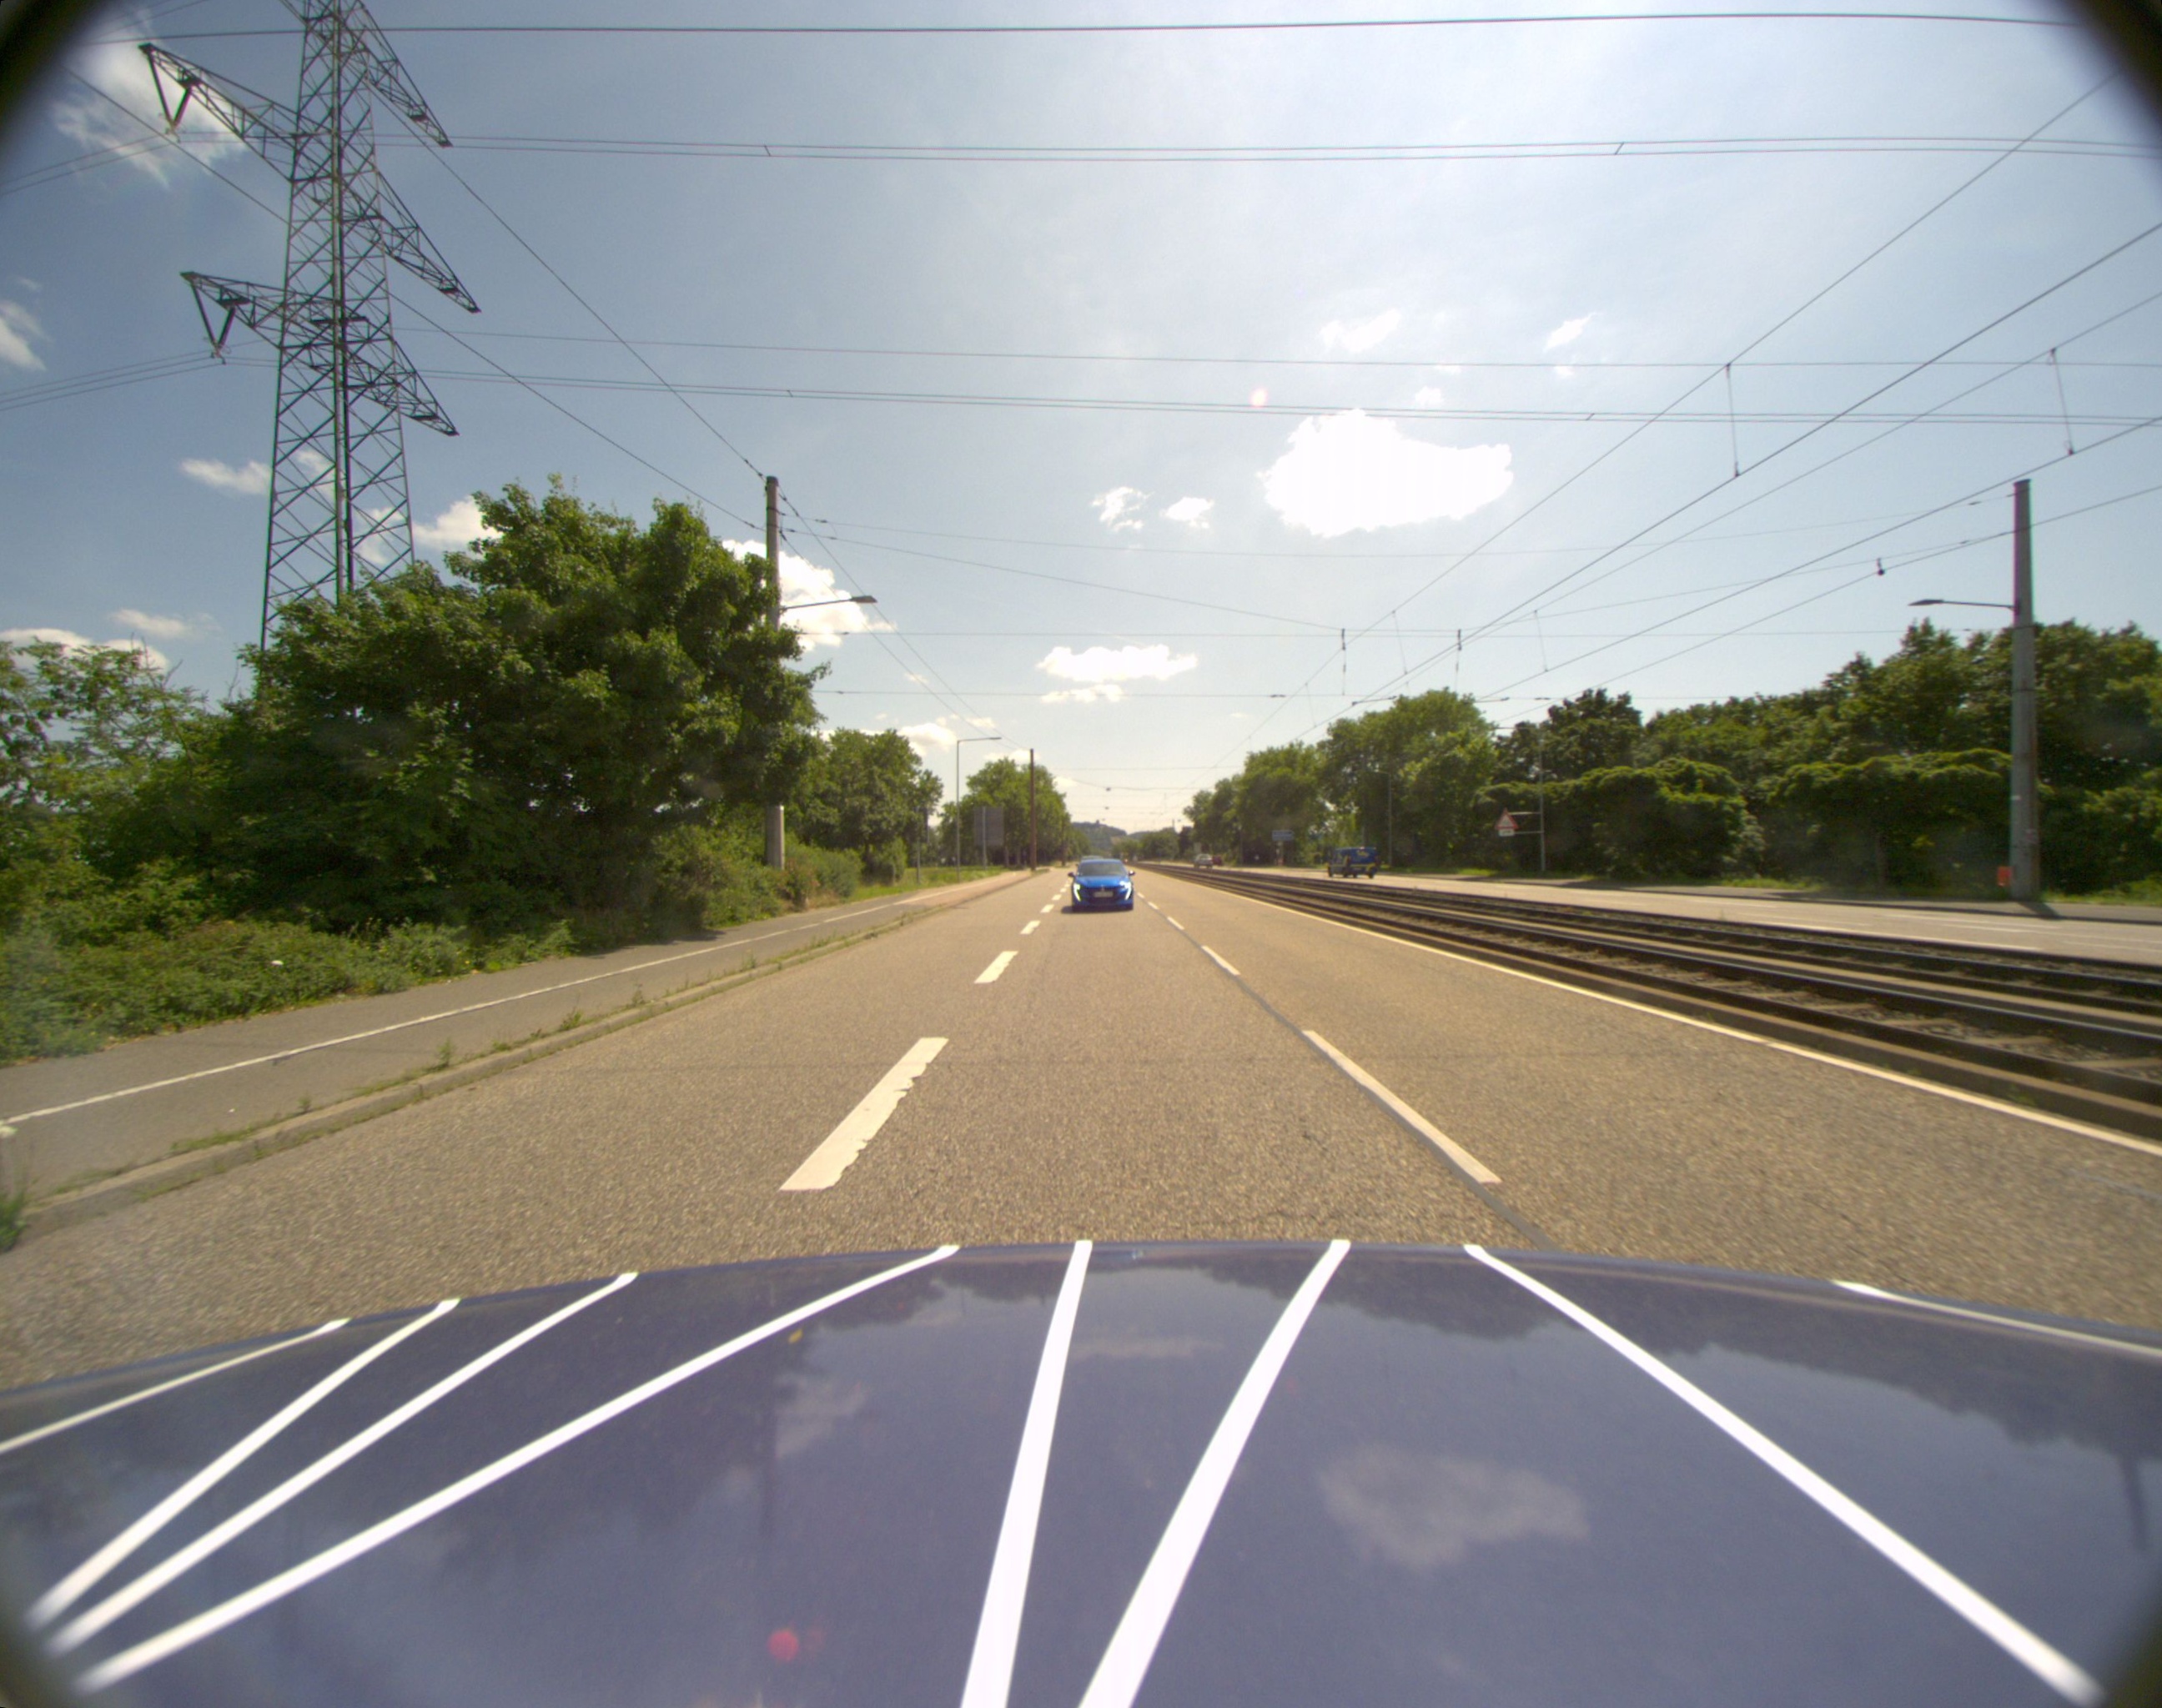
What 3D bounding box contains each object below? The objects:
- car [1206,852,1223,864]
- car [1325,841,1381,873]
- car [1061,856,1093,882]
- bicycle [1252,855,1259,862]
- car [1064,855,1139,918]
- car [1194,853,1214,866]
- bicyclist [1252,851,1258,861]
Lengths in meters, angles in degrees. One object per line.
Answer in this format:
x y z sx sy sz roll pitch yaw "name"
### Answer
18.836 0.577 107.390 1.806 1.616 4.211 0 0 1 "car"
17.585 0.167 49.363 1.861 1.916 5.008 1 0 1 "car"
-0.207 0.858 45.359 1.771 1.422 4.000 -2 0 1 "car"
25.873 0.679 112.516 0.623 0.934 2.091 -1 0 0 "bicycle"
0.548 0.795 20.829 1.771 1.463 4.467 -2 0 1 "car"
15.019 0.664 93.112 1.806 1.616 4.494 0 0 1 "car"
25.835 0.264 112.543 0.623 1.509 1.160 -1 1 0 "bicyclist"
